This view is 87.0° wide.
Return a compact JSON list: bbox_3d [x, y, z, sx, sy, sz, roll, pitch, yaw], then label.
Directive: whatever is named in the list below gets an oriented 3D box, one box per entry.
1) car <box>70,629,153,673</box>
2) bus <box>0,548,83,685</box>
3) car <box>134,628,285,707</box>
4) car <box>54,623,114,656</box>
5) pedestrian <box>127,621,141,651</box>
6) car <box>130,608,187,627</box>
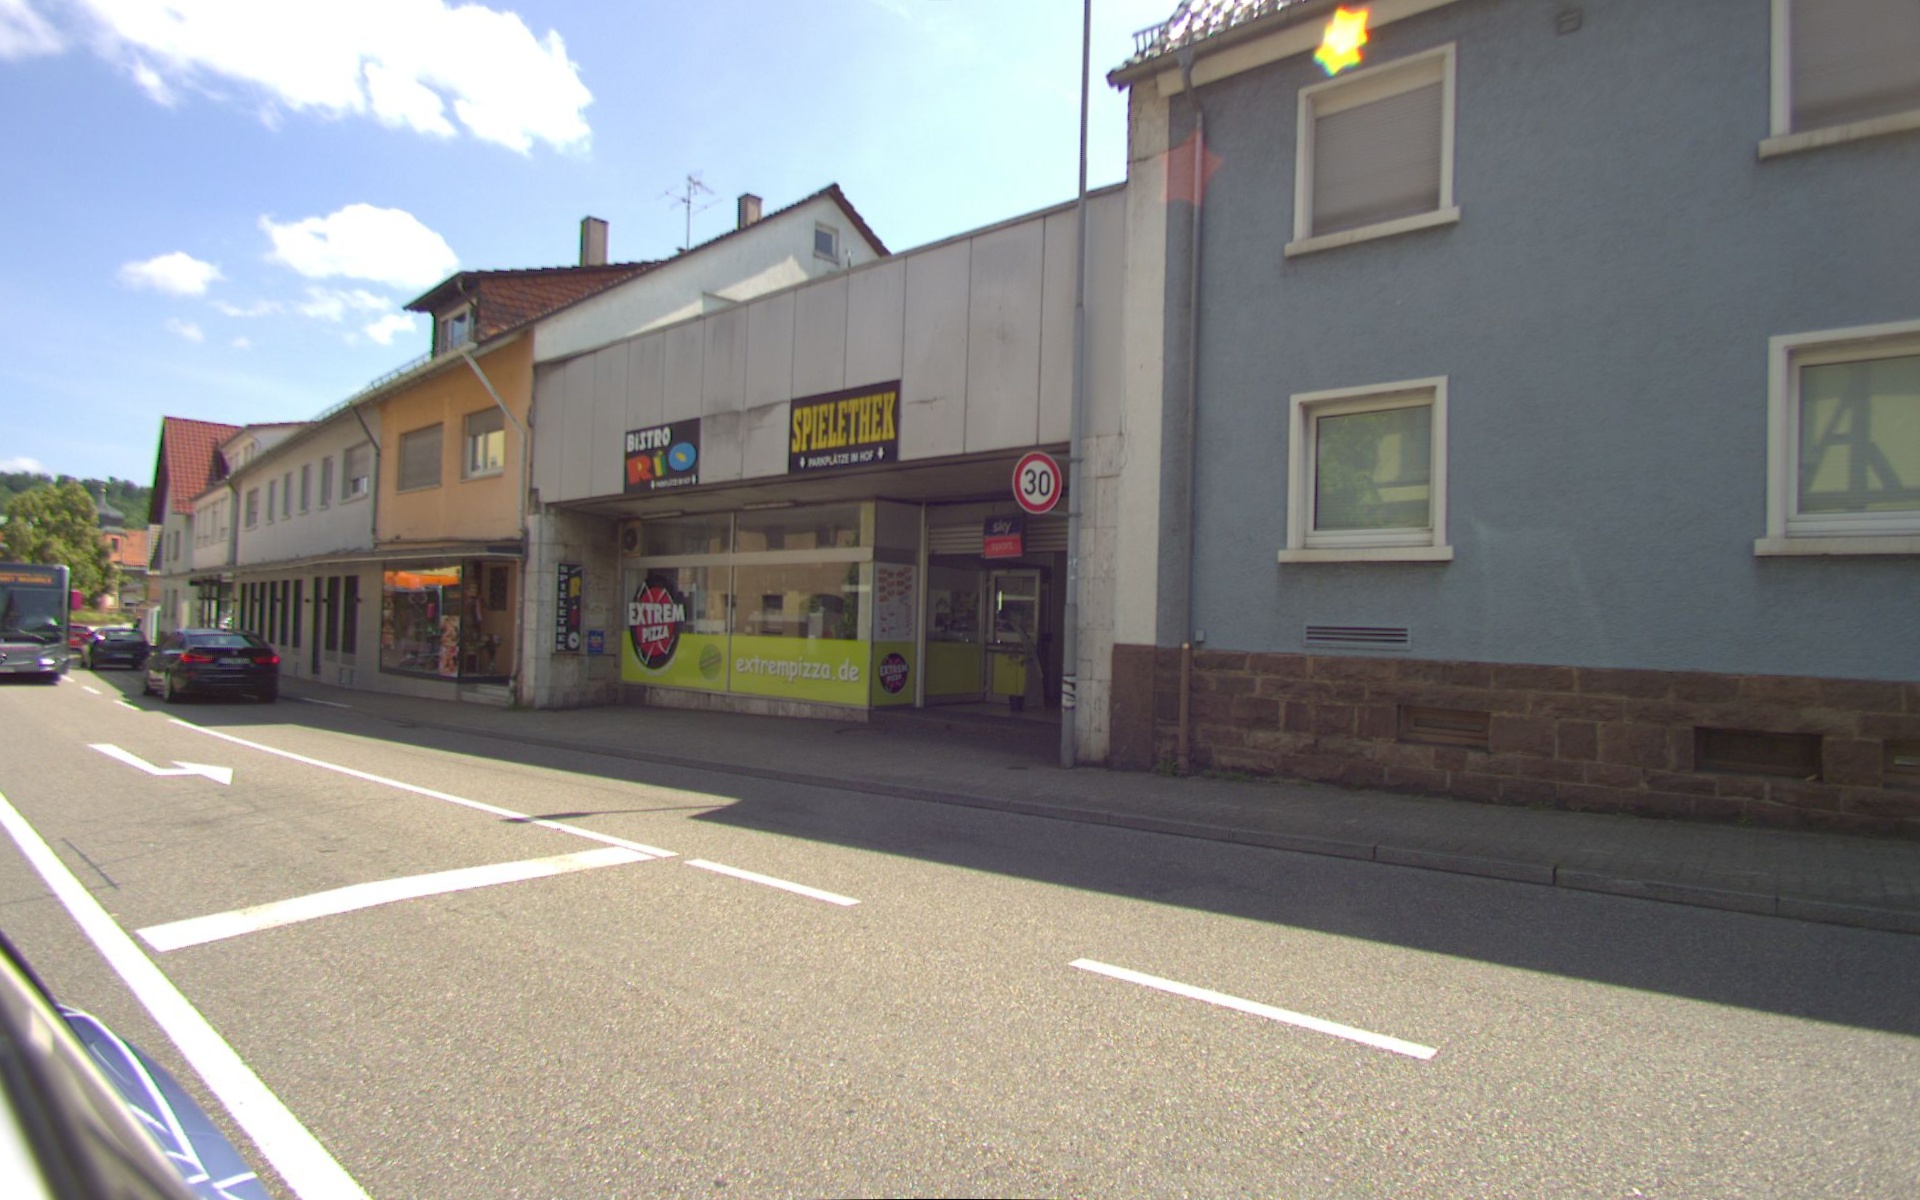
[{"bbox_3d":[-29.821,1.796,35.540,3.820,1.434,1.698,-3,-5,43],"label":"car"},{"bbox_3d":[-29.333,0.599,30.455,19.038,3.229,2.820,-2,-2,44],"label":"bus"},{"bbox_3d":[-16.485,1.434,22.122,4.798,1.498,1.777,-1,-5,44],"label":"car"},{"bbox_3d":[-41.184,1.886,47.544,4.286,1.419,1.698,-2,-6,45],"label":"car"},{"bbox_3d":[-50.447,2.202,61.811,0.475,1.777,0.467,1,-2,23],"label":"pedestrian"},{"bbox_3d":[-83.183,1.833,105.088,1.958,1.958,4.421,-1,-2,11],"label":"car"}]
